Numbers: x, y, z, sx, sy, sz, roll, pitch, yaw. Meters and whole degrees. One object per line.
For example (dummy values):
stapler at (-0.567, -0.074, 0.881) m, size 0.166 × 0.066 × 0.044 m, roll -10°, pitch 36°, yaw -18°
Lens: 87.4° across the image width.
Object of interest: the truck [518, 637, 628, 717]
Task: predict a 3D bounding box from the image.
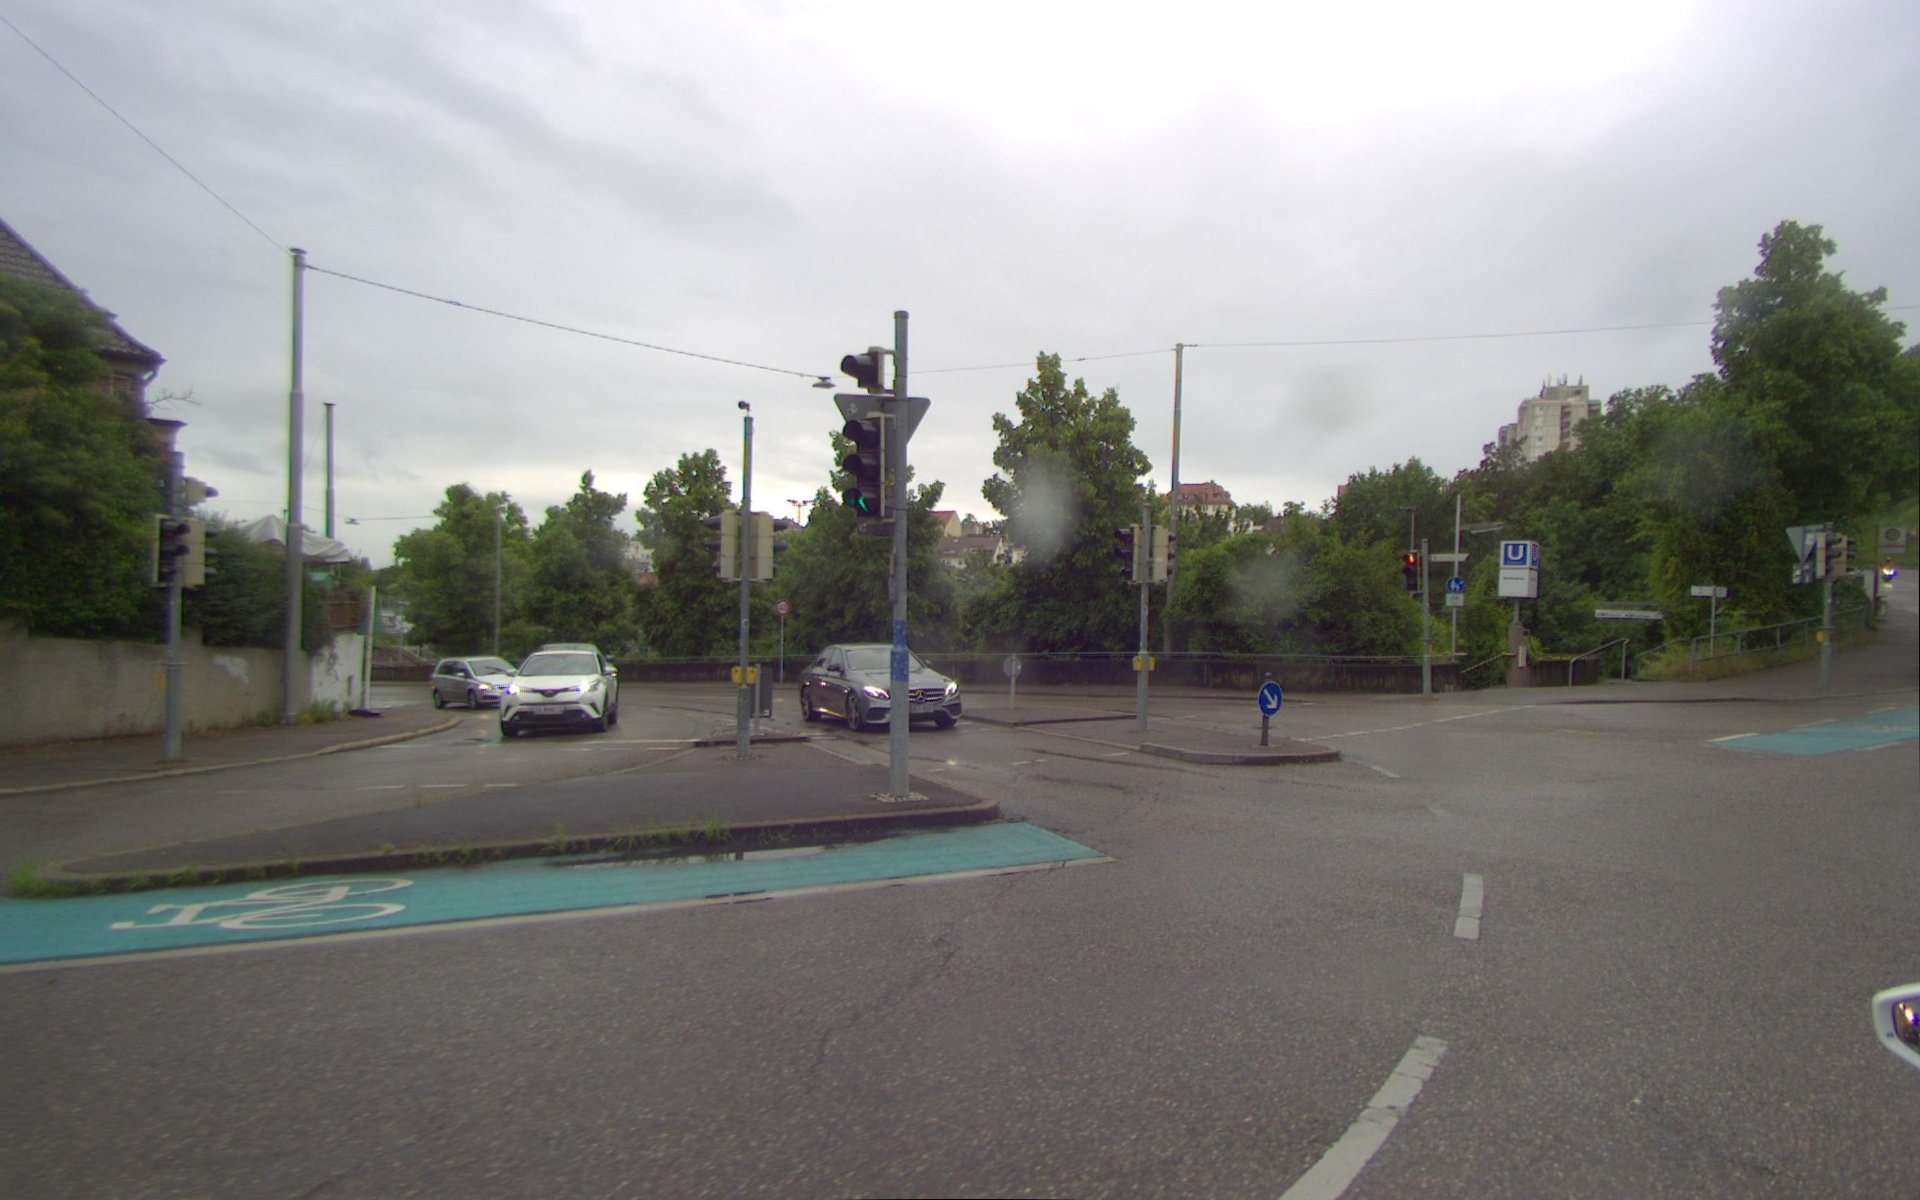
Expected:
truck at (-10.221, 1.921, 26.276) m, size 1.867 × 1.872 × 5.238 m, roll 1°, pitch -2°, yaw -31°

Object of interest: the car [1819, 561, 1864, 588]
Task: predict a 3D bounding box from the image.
car at (60.781, -1.761, 69.309) m, size 1.811 × 1.714 × 3.988 m, roll -1°, pitch 2°, yaw 33°

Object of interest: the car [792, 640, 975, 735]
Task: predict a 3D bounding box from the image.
car at (-1.544, 1.491, 18.241) m, size 1.839 × 1.413 × 4.570 m, roll -2°, pitch -2°, yaw -24°

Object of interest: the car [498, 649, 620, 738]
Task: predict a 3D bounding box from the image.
car at (-7.586, 1.695, 19.347) m, size 1.684 × 1.486 × 4.248 m, roll 1°, pitch -3°, yaw -15°

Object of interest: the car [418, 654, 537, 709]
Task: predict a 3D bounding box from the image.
car at (-15.390, 2.579, 31.966) m, size 4.393 × 1.605 × 1.709 m, roll -4°, pitch -4°, yaw 39°

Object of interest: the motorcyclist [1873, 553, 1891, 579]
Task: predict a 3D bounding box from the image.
motorcyclist at (66.380, -2.450, 72.343) m, size 0.874 × 1.899 × 1.248 m, roll 0°, pitch 3°, yaw 40°
